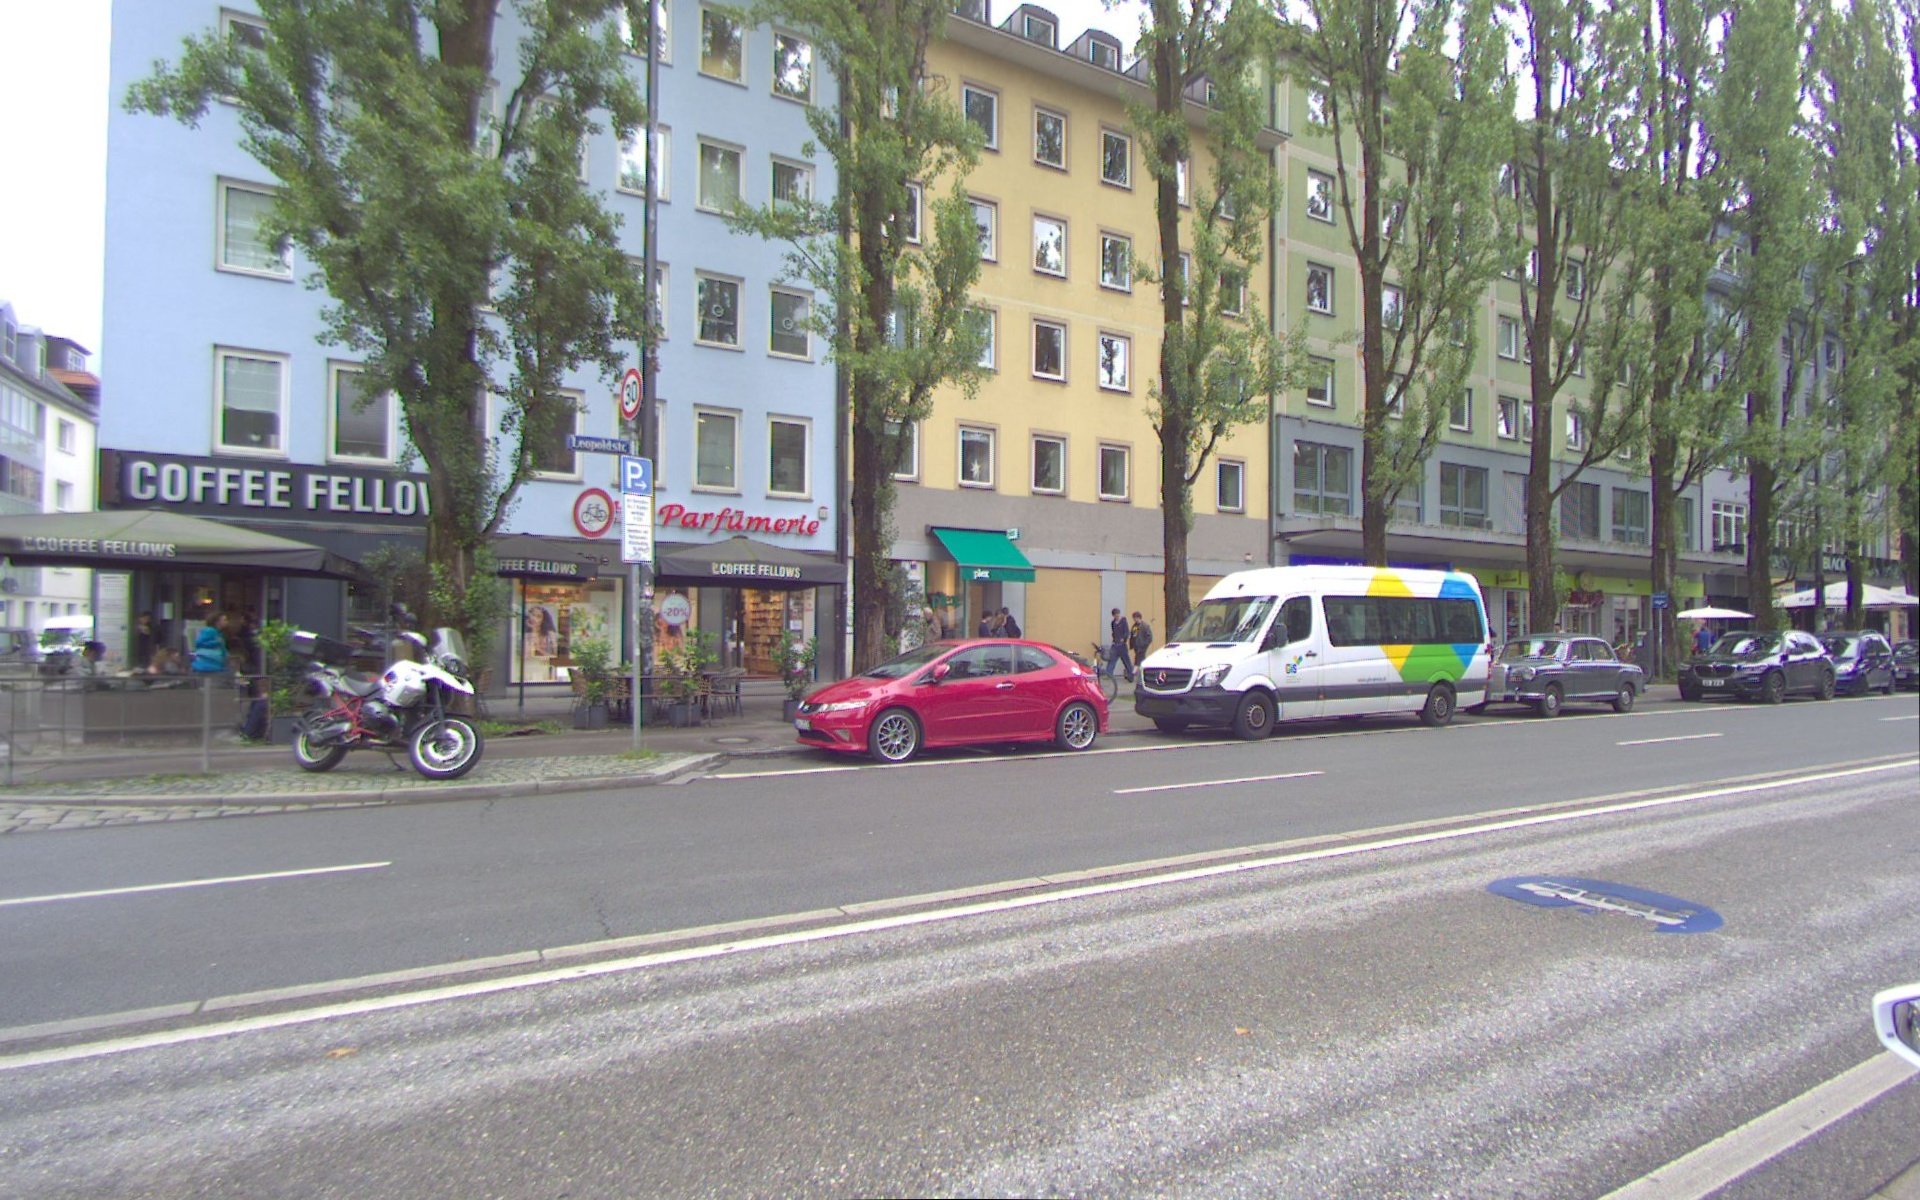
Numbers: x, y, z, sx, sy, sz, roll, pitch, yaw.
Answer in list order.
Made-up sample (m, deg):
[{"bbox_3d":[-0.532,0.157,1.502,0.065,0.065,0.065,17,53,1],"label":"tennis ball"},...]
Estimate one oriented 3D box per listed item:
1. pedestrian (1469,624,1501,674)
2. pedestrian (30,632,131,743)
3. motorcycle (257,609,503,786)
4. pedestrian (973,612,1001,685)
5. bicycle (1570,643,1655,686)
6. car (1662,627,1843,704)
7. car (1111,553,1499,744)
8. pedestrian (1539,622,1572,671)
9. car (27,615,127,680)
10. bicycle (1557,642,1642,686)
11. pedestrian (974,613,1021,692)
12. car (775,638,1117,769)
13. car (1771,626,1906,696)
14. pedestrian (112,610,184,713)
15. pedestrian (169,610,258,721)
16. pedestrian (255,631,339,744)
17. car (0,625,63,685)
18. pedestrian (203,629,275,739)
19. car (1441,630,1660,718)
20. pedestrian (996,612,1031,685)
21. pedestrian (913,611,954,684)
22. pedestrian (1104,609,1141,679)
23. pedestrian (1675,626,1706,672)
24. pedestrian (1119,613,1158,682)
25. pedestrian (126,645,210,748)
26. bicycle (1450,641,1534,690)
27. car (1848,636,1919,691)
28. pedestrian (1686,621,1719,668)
[{"bbox_3d":[18.269,1.713,34.943,0.749,1.708,0.670,2,-2,-29],"label":"pedestrian"},{"bbox_3d":[-11.356,1.110,13.004,0.808,1.380,0.695,1,-2,-27],"label":"pedestrian"},{"bbox_3d":[-5.712,0.901,9.888,2.301,1.584,0.715,1,0,18],"label":"motorcycle"},{"bbox_3d":[0.624,1.121,23.362,0.553,1.657,0.699,0,-1,-6],"label":"pedestrian"},{"bbox_3d":[19.131,1.878,29.496,0.712,1.110,1.933,1,1,-36],"label":"bicycle"},{"bbox_3d":[18.974,1.515,24.015,4.557,1.686,1.858,1,-3,-30],"label":"car"},{"bbox_3d":[5.767,0.769,16.352,6.831,2.601,1.996,1,-3,-31],"label":"car"},{"bbox_3d":[20.693,1.616,34.934,0.667,1.708,0.753,2,-2,-29],"label":"pedestrian"},{"bbox_3d":[-34.887,1.890,39.845,1.959,2.396,4.554,1,-3,-29],"label":"car"},{"bbox_3d":[18.456,1.827,29.023,0.712,1.110,1.933,1,1,-36],"label":"bicycle"},{"bbox_3d":[0.820,1.146,22.156,0.775,1.708,0.753,1,-2,-27],"label":"pedestrian"},{"bbox_3d":[-0.133,1.218,12.878,4.100,1.438,1.729,1,-3,-30],"label":"car"},{"bbox_3d":[23.501,1.603,26.858,3.880,1.743,1.700,1,-3,-33],"label":"car"},{"bbox_3d":[-14.671,1.092,18.160,0.933,1.796,0.699,-1,-2,30],"label":"pedestrian"},{"bbox_3d":[-11.595,1.003,15.626,0.937,1.668,0.696,1,-2,-23],"label":"pedestrian"},{"bbox_3d":[-8.479,1.093,12.884,0.838,1.380,0.694,1,-2,-31],"label":"pedestrian"},{"bbox_3d":[-30.197,1.715,31.532,2.093,1.789,4.551,1,-3,-30],"label":"car"},{"bbox_3d":[-9.441,1.074,13.174,0.692,1.380,0.709,1,-2,-32],"label":"pedestrian"},{"bbox_3d":[11.786,1.420,20.010,4.362,1.572,1.858,1,-3,-30],"label":"car"},{"bbox_3d":[1.230,1.116,23.266,0.713,1.657,0.699,0,-1,-6],"label":"pedestrian"},{"bbox_3d":[-0.623,1.109,23.603,0.718,1.657,0.695,1,-2,-28],"label":"pedestrian"},{"bbox_3d":[4.243,1.144,26.248,0.717,1.818,0.695,1,-2,-25],"label":"pedestrian"},{"bbox_3d":[27.609,1.845,37.967,0.667,1.708,0.753,2,-2,-29],"label":"pedestrian"},{"bbox_3d":[4.533,1.198,25.597,0.717,1.722,0.695,1,-2,-25],"label":"pedestrian"},{"bbox_3d":[-9.762,1.161,12.409,0.692,1.198,0.811,1,-2,-31],"label":"pedestrian"},{"bbox_3d":[13.846,1.688,26.197,0.710,1.110,1.862,1,1,-27],"label":"bicycle"},{"bbox_3d":[28.036,1.833,29.394,4.299,1.508,1.790,1,-3,-30],"label":"car"},{"bbox_3d":[27.181,1.631,36.794,0.667,1.708,0.753,2,-2,-29],"label":"pedestrian"}]
